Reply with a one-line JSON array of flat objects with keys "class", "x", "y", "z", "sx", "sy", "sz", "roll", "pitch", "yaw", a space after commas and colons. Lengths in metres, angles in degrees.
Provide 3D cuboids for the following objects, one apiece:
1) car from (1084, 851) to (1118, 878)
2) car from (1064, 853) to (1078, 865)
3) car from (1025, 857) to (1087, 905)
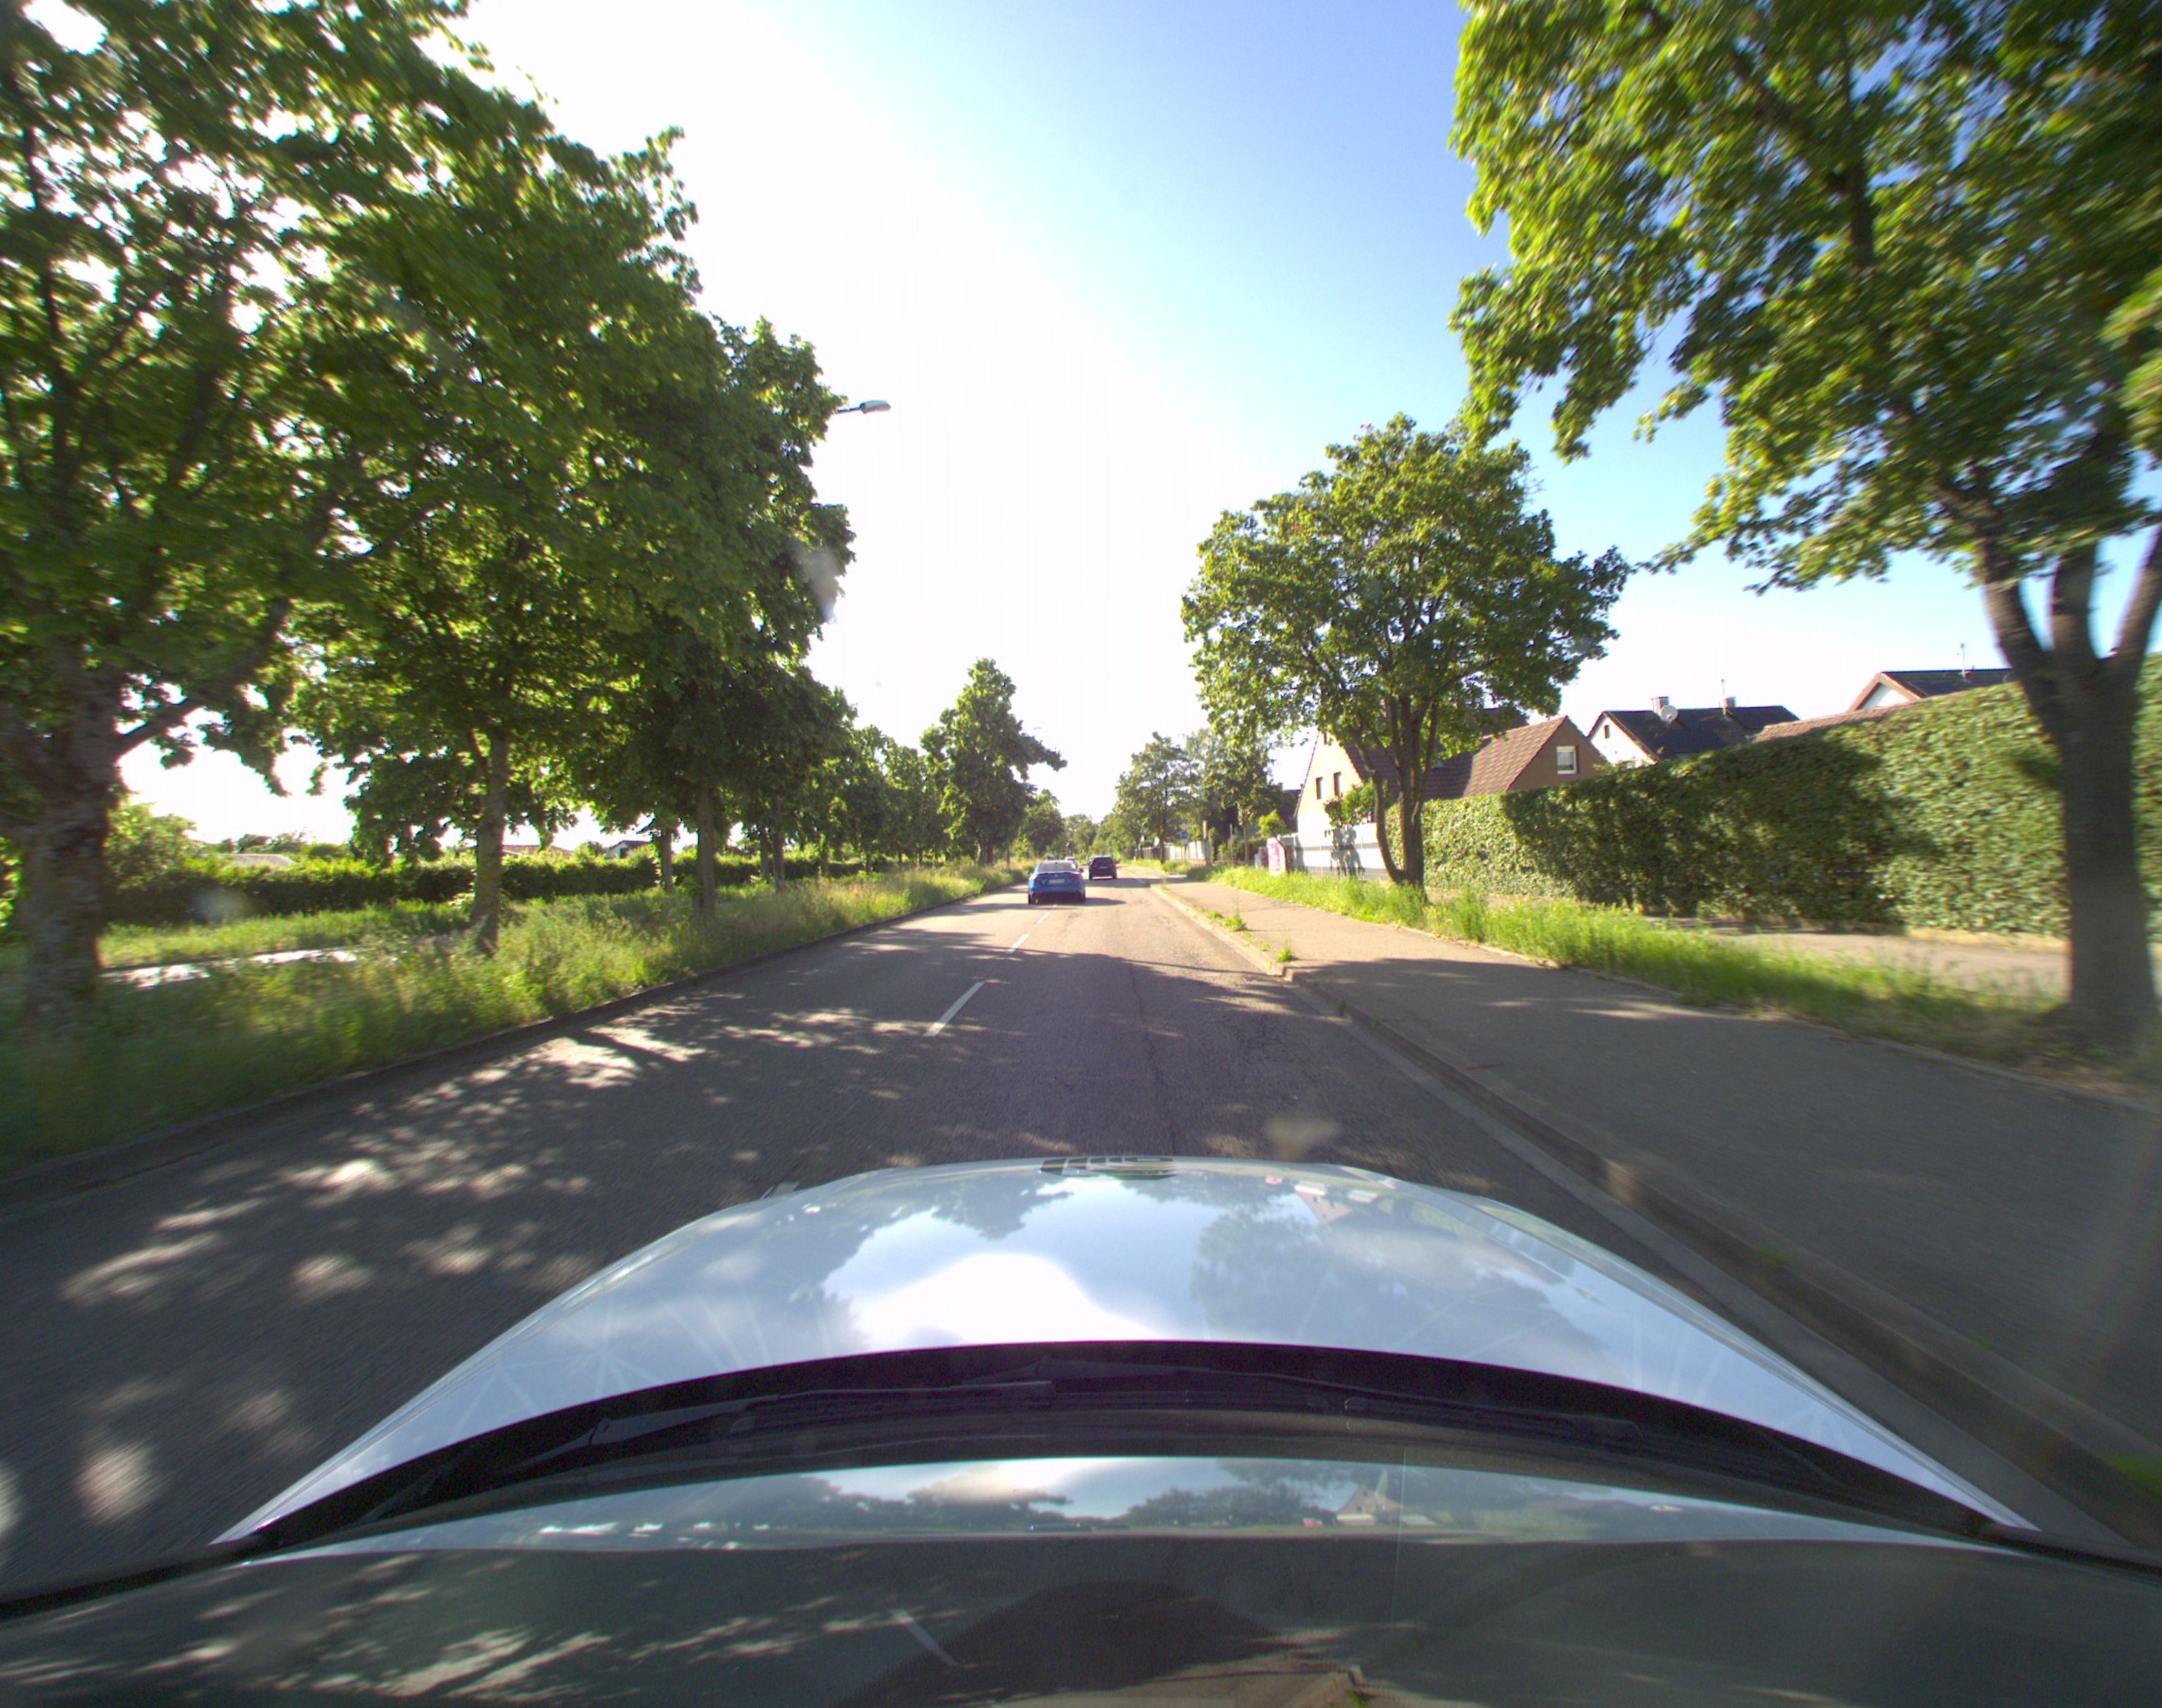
[{"class": "car", "x": 1.244, "y": 0.639, "z": 52.297, "sx": 1.911, "sy": 1.579, "sz": 4.178, "roll": -2, "pitch": 0, "yaw": -3}, {"class": "car", "x": -1.421, "y": 0.705, "z": 115.399, "sx": 1.909, "sy": 1.512, "sz": 4.066, "roll": -2, "pitch": 0, "yaw": -1}, {"class": "car", "x": -0.781, "y": 0.864, "z": 28.155, "sx": 1.831, "sy": 1.474, "sz": 4.186, "roll": -2, "pitch": 0, "yaw": 2}]
